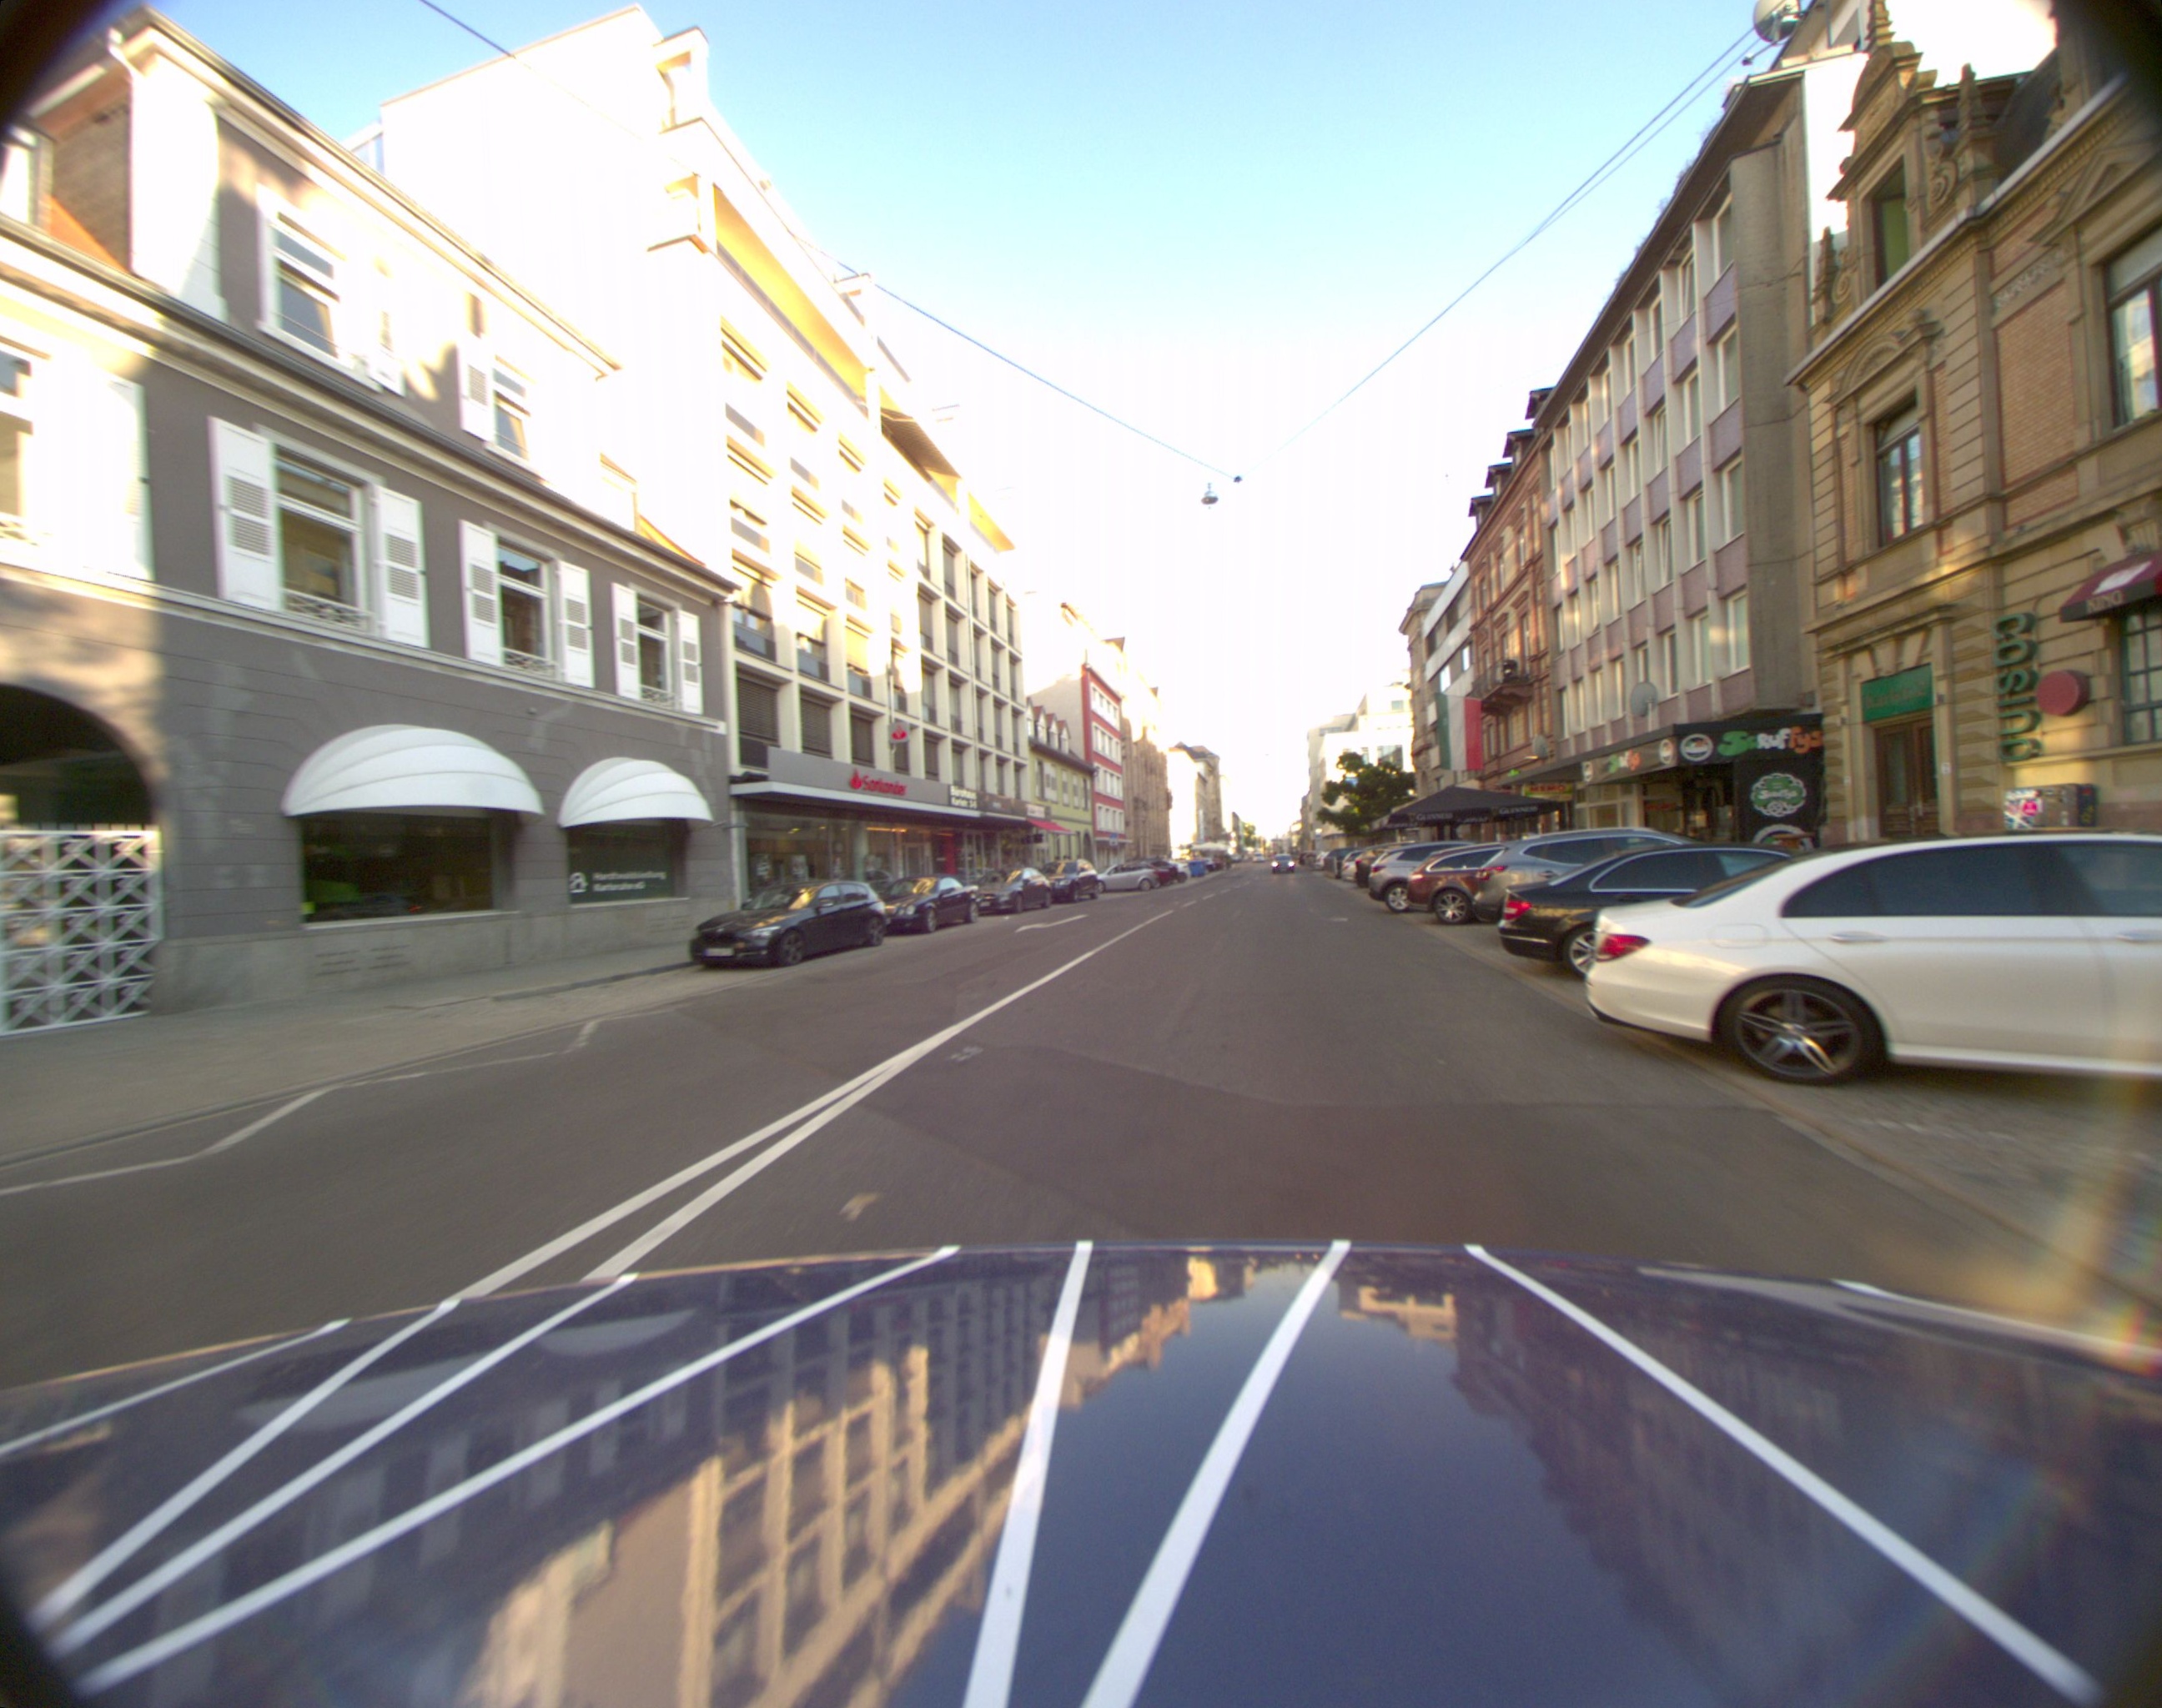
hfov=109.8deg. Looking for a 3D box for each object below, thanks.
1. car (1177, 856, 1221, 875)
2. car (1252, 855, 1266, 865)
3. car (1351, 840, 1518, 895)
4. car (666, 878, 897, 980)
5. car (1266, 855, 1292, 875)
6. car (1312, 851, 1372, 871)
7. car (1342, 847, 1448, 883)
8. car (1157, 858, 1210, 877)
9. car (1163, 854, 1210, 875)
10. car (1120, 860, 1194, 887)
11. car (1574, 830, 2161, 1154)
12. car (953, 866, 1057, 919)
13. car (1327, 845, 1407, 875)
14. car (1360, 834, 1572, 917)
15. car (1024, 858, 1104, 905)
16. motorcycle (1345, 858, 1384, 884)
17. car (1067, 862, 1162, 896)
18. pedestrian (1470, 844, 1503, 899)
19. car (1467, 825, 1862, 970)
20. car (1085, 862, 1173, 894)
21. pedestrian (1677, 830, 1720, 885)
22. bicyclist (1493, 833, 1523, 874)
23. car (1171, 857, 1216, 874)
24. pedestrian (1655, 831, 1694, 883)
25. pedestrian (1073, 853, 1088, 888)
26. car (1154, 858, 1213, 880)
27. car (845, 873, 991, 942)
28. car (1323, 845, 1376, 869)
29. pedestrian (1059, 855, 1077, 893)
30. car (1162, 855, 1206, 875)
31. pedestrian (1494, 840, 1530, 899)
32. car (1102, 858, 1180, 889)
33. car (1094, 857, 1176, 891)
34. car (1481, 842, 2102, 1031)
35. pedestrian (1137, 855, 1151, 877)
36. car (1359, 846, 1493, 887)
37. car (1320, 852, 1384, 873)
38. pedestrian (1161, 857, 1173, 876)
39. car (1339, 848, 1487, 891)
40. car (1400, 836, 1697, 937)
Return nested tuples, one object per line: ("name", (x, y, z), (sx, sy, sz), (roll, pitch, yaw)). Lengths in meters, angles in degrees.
("car", (11.715, 1.157, 75.360), (3.837, 1.714, 1.753), (-3, -1, -10))
("car", (27.676, 0.981, 117.940), (1.905, 1.417, 4.431), (-2, -1, 15))
("car", (12.076, 0.494, 26.157), (4.829, 1.722, 1.912), (-3, -1, 42))
("car", (-5.266, 1.274, 14.080), (1.745, 1.438, 4.254), (-3, 0, 15))
("car", (15.858, 0.844, 60.679), (1.905, 1.417, 4.431), (-2, -1, 16))
("car", (21.054, 0.580, 61.280), (4.416, 1.417, 1.911), (-3, -1, 22))
("car", (15.844, 0.563, 38.643), (4.832, 1.558, 1.911), (-3, -1, 19))
("car", (8.973, 1.155, 66.416), (4.228, 1.465, 1.753), (-3, 0, -10))
("car", (9.573, 0.984, 69.327), (3.837, 1.742, 1.753), (-3, 0, -10))
("car", (4.779, 1.203, 48.044), (4.230, 1.465, 1.752), (-3, 0, -15))
("car", (5.731, 0.660, 4.302), (4.617, 1.502, 1.772), (-5, -2, 42))
("car", (-2.332, 1.184, 24.717), (1.745, 1.437, 4.564), (-3, 0, 16))
("car", (18.943, 0.416, 50.410), (4.831, 1.763, 1.911), (-3, -1, 22))
("car", (8.857, 0.519, 17.574), (4.042, 1.619, 1.856), (-5, -1, 36))
("car", (-0.562, 1.023, 29.993), (1.830, 1.649, 4.368), (-2, 0, 17))
("motorcycle", (13.288, 0.799, 35.609), (1.583, 1.151, 0.459), (-3, 1, 29))
("car", (1.648, 1.191, 37.048), (4.233, 1.431, 1.751), (-2, 0, -27))
("pedestrian", (10.660, 0.455, 19.980), (0.575, 1.408, 0.676), (-2, 0, 14))
("car", (7.827, 0.548, 10.566), (4.040, 1.647, 1.797), (-2, -1, 40))
("car", (2.513, 1.232, 40.152), (4.231, 1.431, 1.752), (-2, 0, -19))
("pedestrian", (14.931, 0.088, 18.392), (0.573, 1.301, 0.576), (-3, 0, 15))
("bicyclist", (16.732, -0.013, 29.802), (0.766, 1.550, 0.813), (-3, 0, 14))
("car", (10.714, 1.099, 72.308), (3.837, 1.339, 1.738), (-3, -1, -10))
("pedestrian", (15.199, 0.078, 19.464), (0.573, 1.301, 0.576), (-3, 0, 15))
("pedestrian", (-0.020, 0.919, 42.571), (0.612, 1.876, 0.720), (-3, 0, 13))
("car", (8.051, 1.168, 59.691), (4.230, 1.465, 1.752), (-3, 0, -15))
("car", (-3.925, 1.262, 19.185), (1.745, 1.379, 4.506), (-3, 0, 14))
("car", (24.858, 0.276, 70.327), (4.416, 1.951, 1.911), (-3, -1, 22))
("pedestrian", (-0.704, 1.115, 42.804), (0.762, 2.055, 0.720), (-3, 0, 13))
("car", (10.800, 1.190, 79.633), (4.228, 1.871, 1.753), (-3, 0, -10))
("pedestrian", (10.685, 0.389, 18.860), (0.575, 1.408, 0.676), (-2, 0, 14))
("car", (3.559, 1.133, 45.332), (4.230, 1.607, 1.752), (-3, 0, -15))
("car", (3.042, 1.110, 42.849), (4.231, 1.666, 1.752), (-2, 0, -19))
("car", (6.679, 0.693, 7.807), (4.240, 1.439, 1.714), (-2, -1, 40))
("pedestrian", (5.589, 1.037, 67.234), (0.848, 1.932, 1.014), (-3, 0, 20))
("car", (14.490, 0.546, 32.030), (4.829, 1.495, 1.912), (-3, -1, 36))
("car", (20.623, 0.632, 57.766), (4.416, 1.417, 1.911), (-3, -1, 22))
("pedestrian", (8.214, 1.171, 72.811), (0.848, 1.789, 1.014), (-3, 0, 20))
("car", (12.812, 0.621, 29.542), (4.829, 1.495, 1.912), (-3, -1, 44))
("car", (8.365, 0.579, 13.880), (1.714, 1.539, 4.285), (-3, 0, -45))
